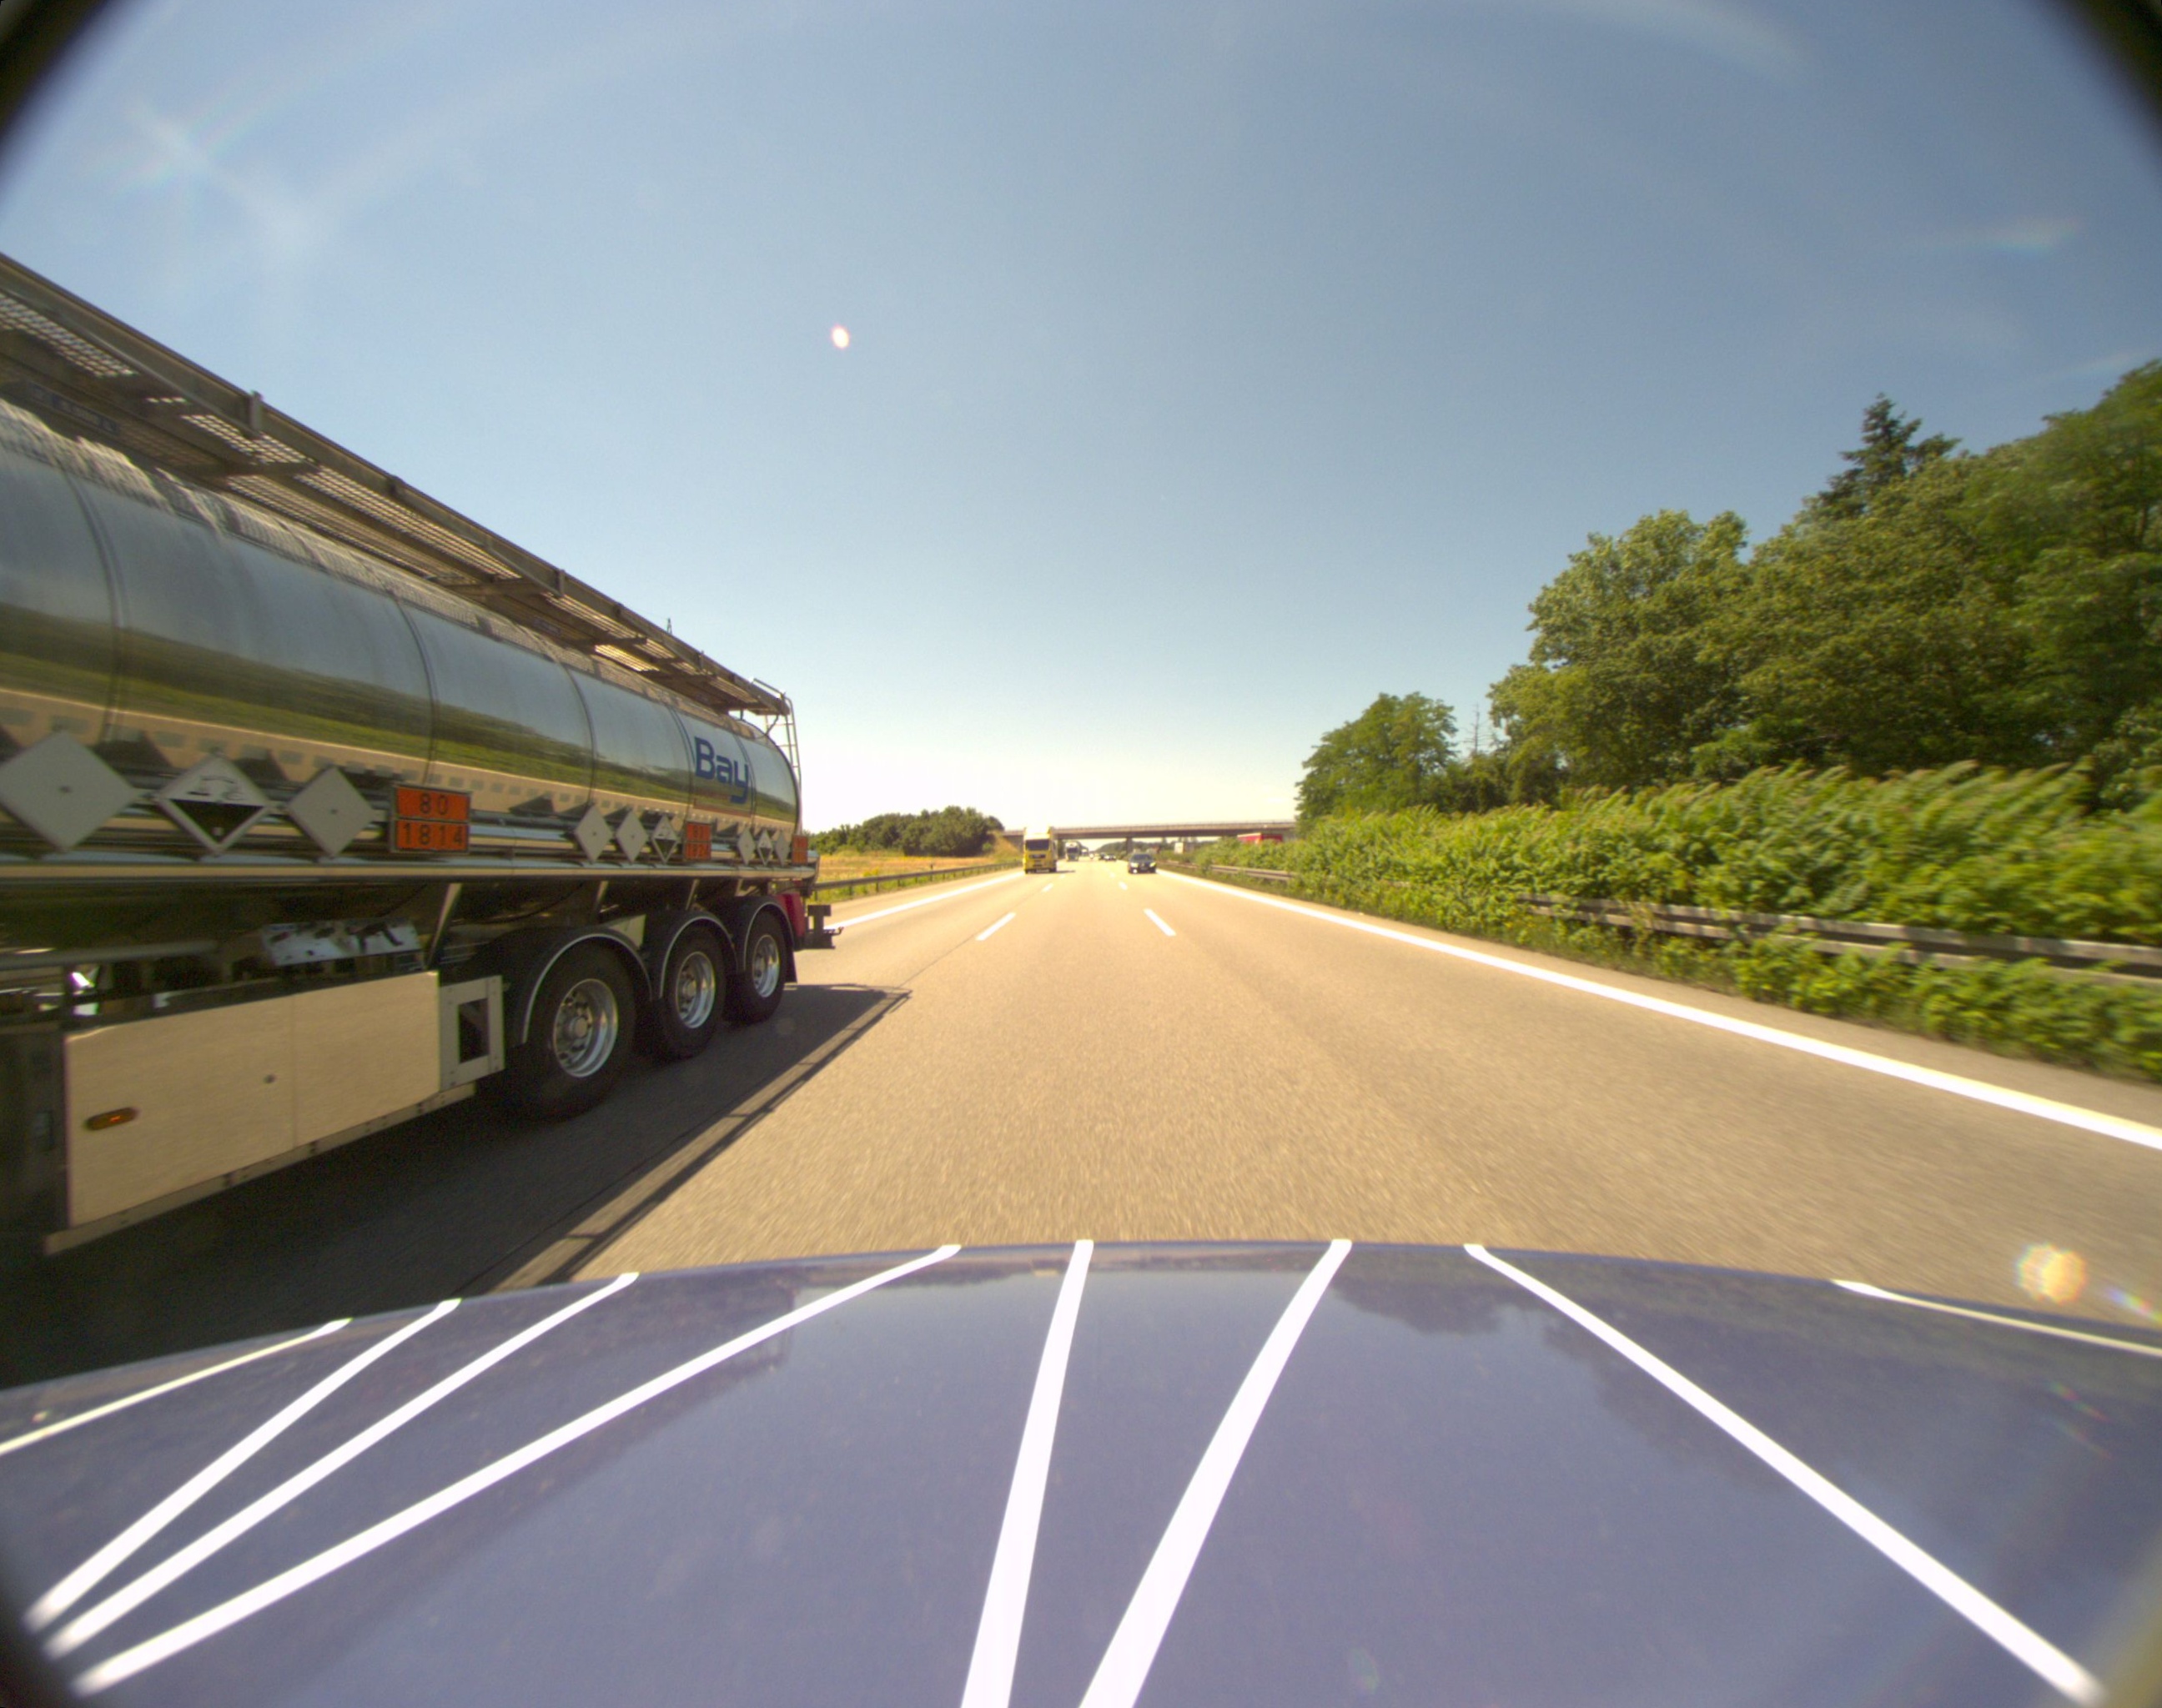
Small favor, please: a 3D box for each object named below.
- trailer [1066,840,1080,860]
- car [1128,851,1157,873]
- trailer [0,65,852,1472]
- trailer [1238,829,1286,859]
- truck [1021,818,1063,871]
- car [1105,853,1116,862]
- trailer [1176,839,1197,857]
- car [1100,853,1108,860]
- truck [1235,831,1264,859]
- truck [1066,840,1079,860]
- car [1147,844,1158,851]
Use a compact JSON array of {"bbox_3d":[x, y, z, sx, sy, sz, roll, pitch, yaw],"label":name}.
[{"bbox_3d":[-1.676,-0.891,168.435,2.476,4.038,13.880,-2,0,1],"label":"trailer"},{"bbox_3d":[4.405,0.529,54.922,1.811,1.459,4.000,-2,0,1],"label":"car"},{"bbox_3d":[-4.375,-0.250,4.222,2.586,4.050,11.102,-2,0,0],"label":"trailer"},{"bbox_3d":[22.285,-1.145,94.319,2.593,3.397,14.155,-2,0,1],"label":"trailer"},{"bbox_3d":[-3.328,-0.782,67.513,2.941,4.175,10.681,-2,0,1],"label":"truck"},{"bbox_3d":[5.199,0.628,133.999,1.811,1.417,4.000,-2,0,1],"label":"car"},{"bbox_3d":[23.376,-1.233,168.506,2.833,3.688,13.928,-2,0,1],"label":"trailer"},{"bbox_3d":[5.170,0.634,173.007,1.811,1.417,4.000,-2,0,1],"label":"car"},{"bbox_3d":[22.362,-1.170,101.087,2.604,3.402,5.116,-2,0,0],"label":"truck"},{"bbox_3d":[-1.779,-0.876,161.873,2.476,4.038,6.320,-2,0,1],"label":"truck"},{"bbox_3d":[19.853,-1.749,210.465,2.308,1.770,5.423,-2,0,0],"label":"car"}]
